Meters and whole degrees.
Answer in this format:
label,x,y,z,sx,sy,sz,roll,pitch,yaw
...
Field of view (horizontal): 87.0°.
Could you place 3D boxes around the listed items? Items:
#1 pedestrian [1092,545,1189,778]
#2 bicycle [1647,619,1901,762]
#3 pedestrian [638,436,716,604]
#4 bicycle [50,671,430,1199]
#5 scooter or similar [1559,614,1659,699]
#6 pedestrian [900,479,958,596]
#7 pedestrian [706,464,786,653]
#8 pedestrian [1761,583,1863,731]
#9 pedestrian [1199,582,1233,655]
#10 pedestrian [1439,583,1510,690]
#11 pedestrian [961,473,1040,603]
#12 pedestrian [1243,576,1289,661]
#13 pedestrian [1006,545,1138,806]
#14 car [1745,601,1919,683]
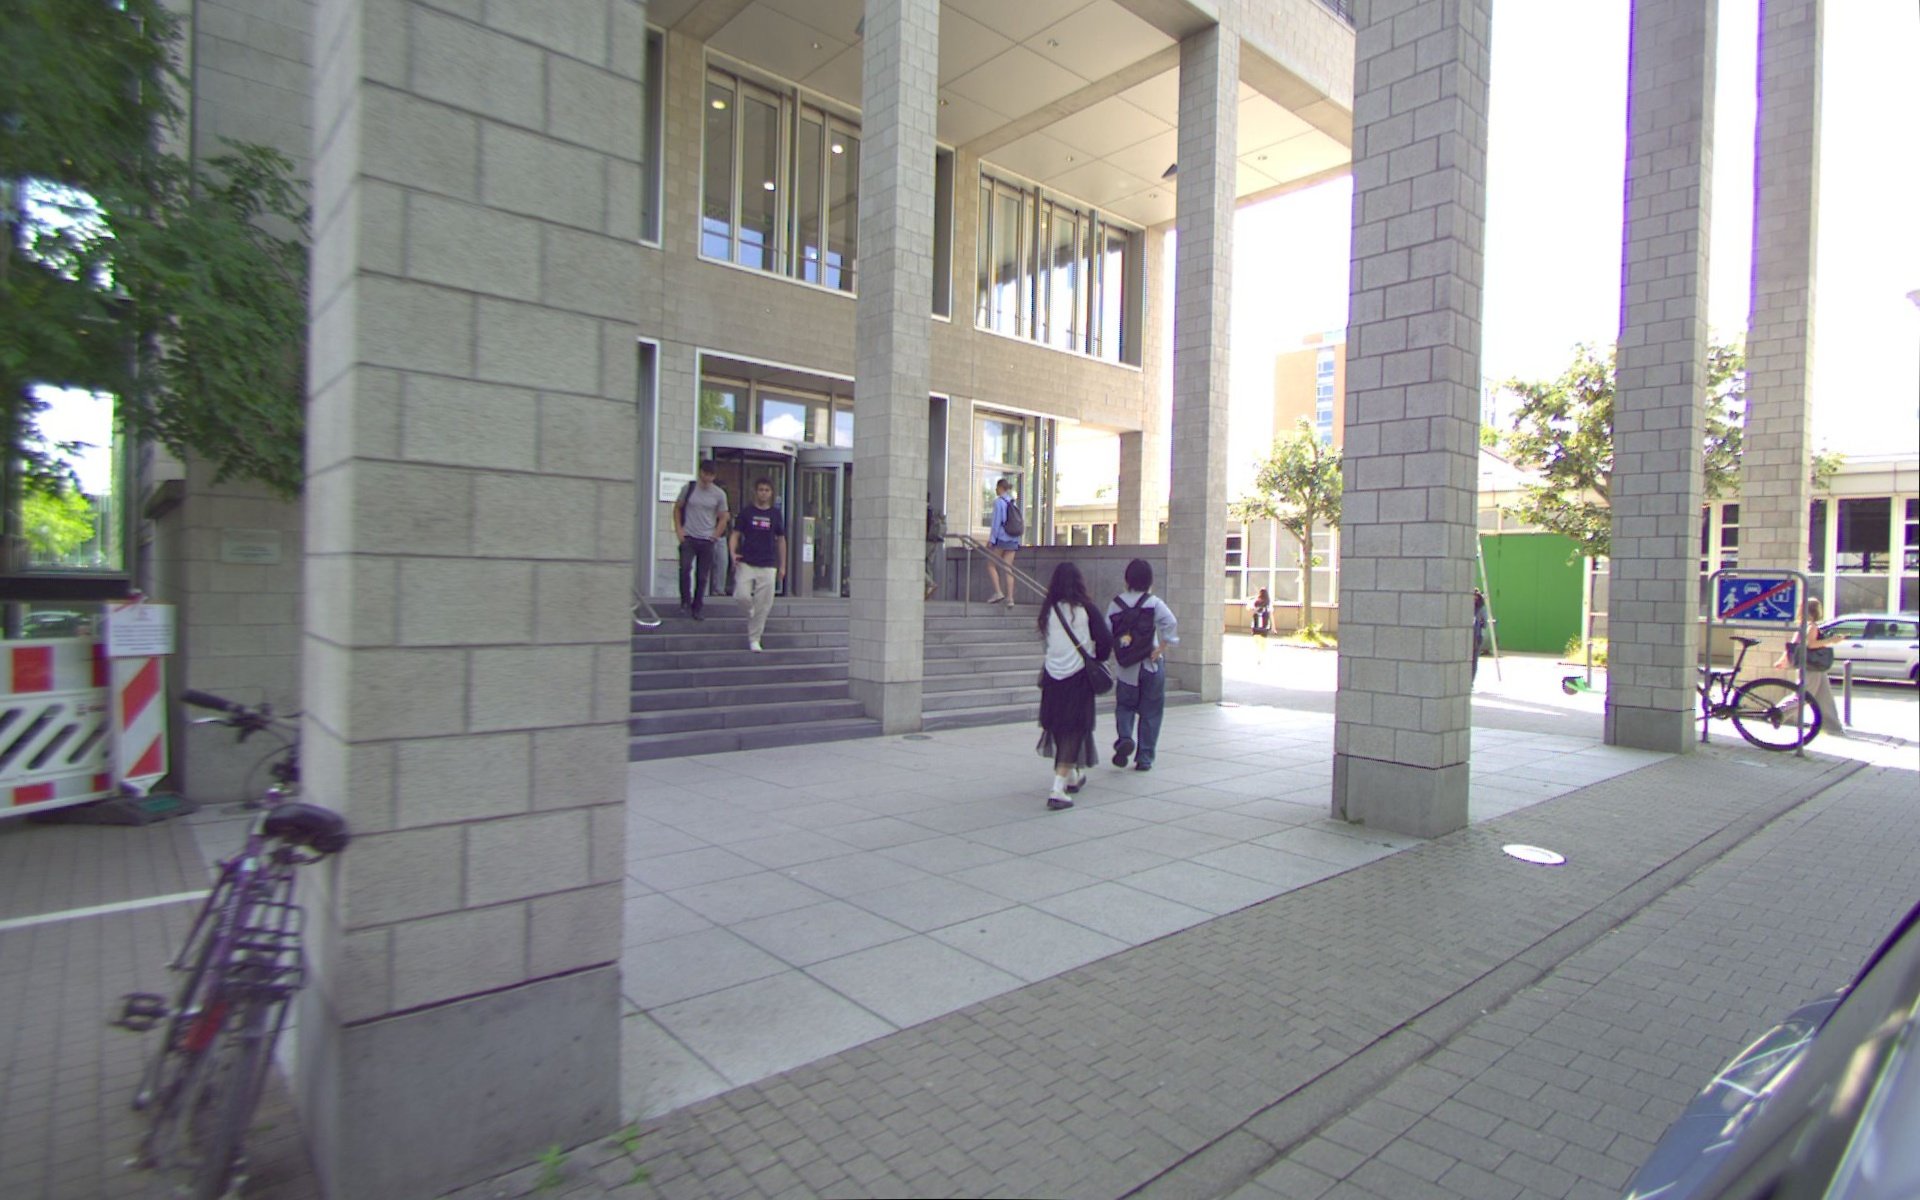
label,x,y,z,sx,sy,sz,roll,pitch,yaw
pedestrian,1.407,0.444,7.925,0.664,1.691,0.896,1,0,10
bicycle,8.040,0.837,10.070,1.881,1.178,0.595,4,2,45
pedestrian,-2.981,-0.818,10.717,0.688,1.676,0.884,1,0,-11
bicycle,-1.834,0.779,2.459,0.442,1.052,1.739,2,0,-45
scooter or similar,9.612,0.818,15.014,0.436,1.165,1.158,1,0,-36
pedestrian,-0.502,-0.984,16.309,0.580,1.826,0.683,1,0,-43
pedestrian,-2.203,-0.408,10.354,0.688,1.826,0.884,1,0,-16
pedestrian,10.168,0.649,12.087,0.879,1.676,0.692,2,0,42
pedestrian,5.796,0.402,22.973,0.579,1.619,0.826,1,0,5
pedestrian,8.092,0.549,15.908,0.816,1.594,0.869,2,0,38
pedestrian,0.562,-0.847,14.127,0.864,1.746,0.634,2,0,45
pedestrian,6.545,0.384,21.662,0.766,1.746,0.858,1,0,8
pedestrian,0.774,0.469,6.834,0.795,1.637,0.738,1,1,12
car,19.140,0.854,21.395,1.625,1.494,3.774,-2,3,-41
